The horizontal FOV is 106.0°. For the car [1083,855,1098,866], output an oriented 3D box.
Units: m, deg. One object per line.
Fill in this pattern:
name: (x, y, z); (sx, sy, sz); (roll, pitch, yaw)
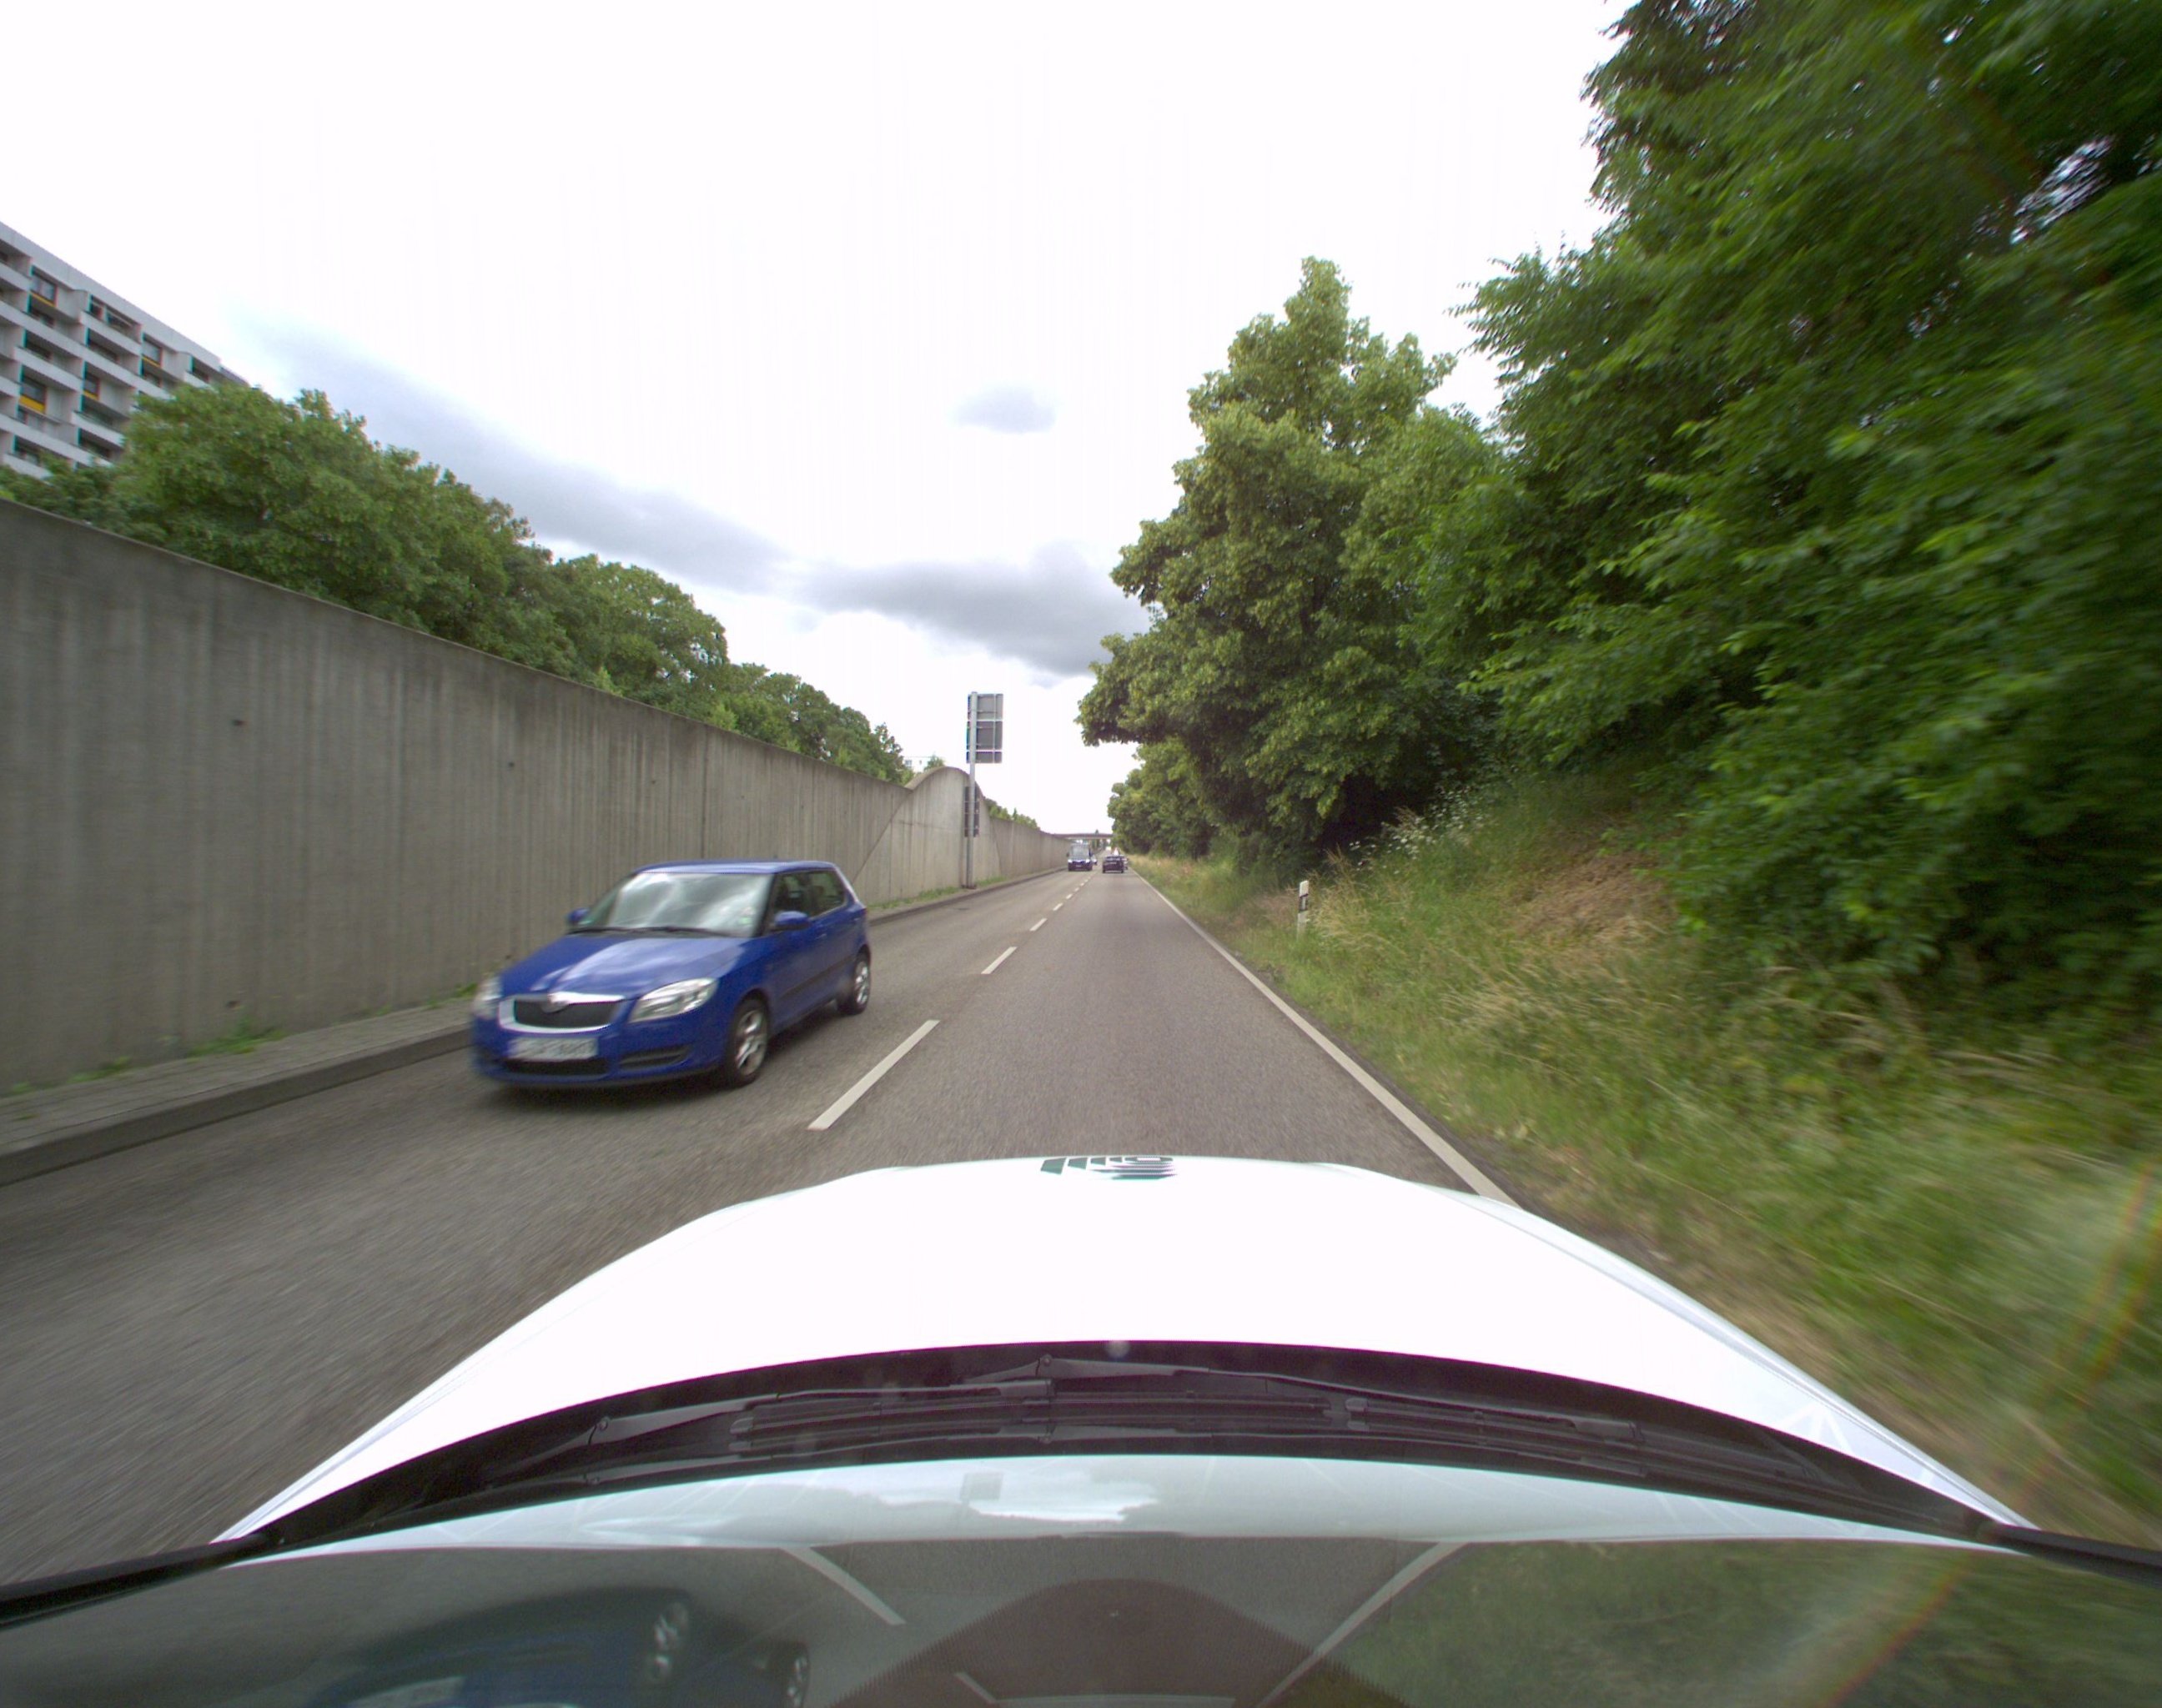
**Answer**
car: (1.397, 0.945, 116.447); (1.885, 1.483, 4.826); (-1, 0, 2)

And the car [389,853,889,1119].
car: (-3.006, 0.745, 6.725); (1.761, 1.495, 4.209); (0, 0, 1)

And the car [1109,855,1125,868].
car: (4.627, 0.983, 105.892); (1.860, 1.490, 4.257); (3, 0, 1)

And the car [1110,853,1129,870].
car: (3.920, 0.757, 83.307); (1.748, 1.523, 4.036); (-3, -2, 0)

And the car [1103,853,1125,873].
car: (2.698, 0.725, 67.123); (1.748, 1.523, 4.037); (-2, -1, 1)

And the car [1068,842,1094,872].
car: (0.047, 0.256, 76.753); (2.101, 2.630, 7.422); (-1, 0, 3)
